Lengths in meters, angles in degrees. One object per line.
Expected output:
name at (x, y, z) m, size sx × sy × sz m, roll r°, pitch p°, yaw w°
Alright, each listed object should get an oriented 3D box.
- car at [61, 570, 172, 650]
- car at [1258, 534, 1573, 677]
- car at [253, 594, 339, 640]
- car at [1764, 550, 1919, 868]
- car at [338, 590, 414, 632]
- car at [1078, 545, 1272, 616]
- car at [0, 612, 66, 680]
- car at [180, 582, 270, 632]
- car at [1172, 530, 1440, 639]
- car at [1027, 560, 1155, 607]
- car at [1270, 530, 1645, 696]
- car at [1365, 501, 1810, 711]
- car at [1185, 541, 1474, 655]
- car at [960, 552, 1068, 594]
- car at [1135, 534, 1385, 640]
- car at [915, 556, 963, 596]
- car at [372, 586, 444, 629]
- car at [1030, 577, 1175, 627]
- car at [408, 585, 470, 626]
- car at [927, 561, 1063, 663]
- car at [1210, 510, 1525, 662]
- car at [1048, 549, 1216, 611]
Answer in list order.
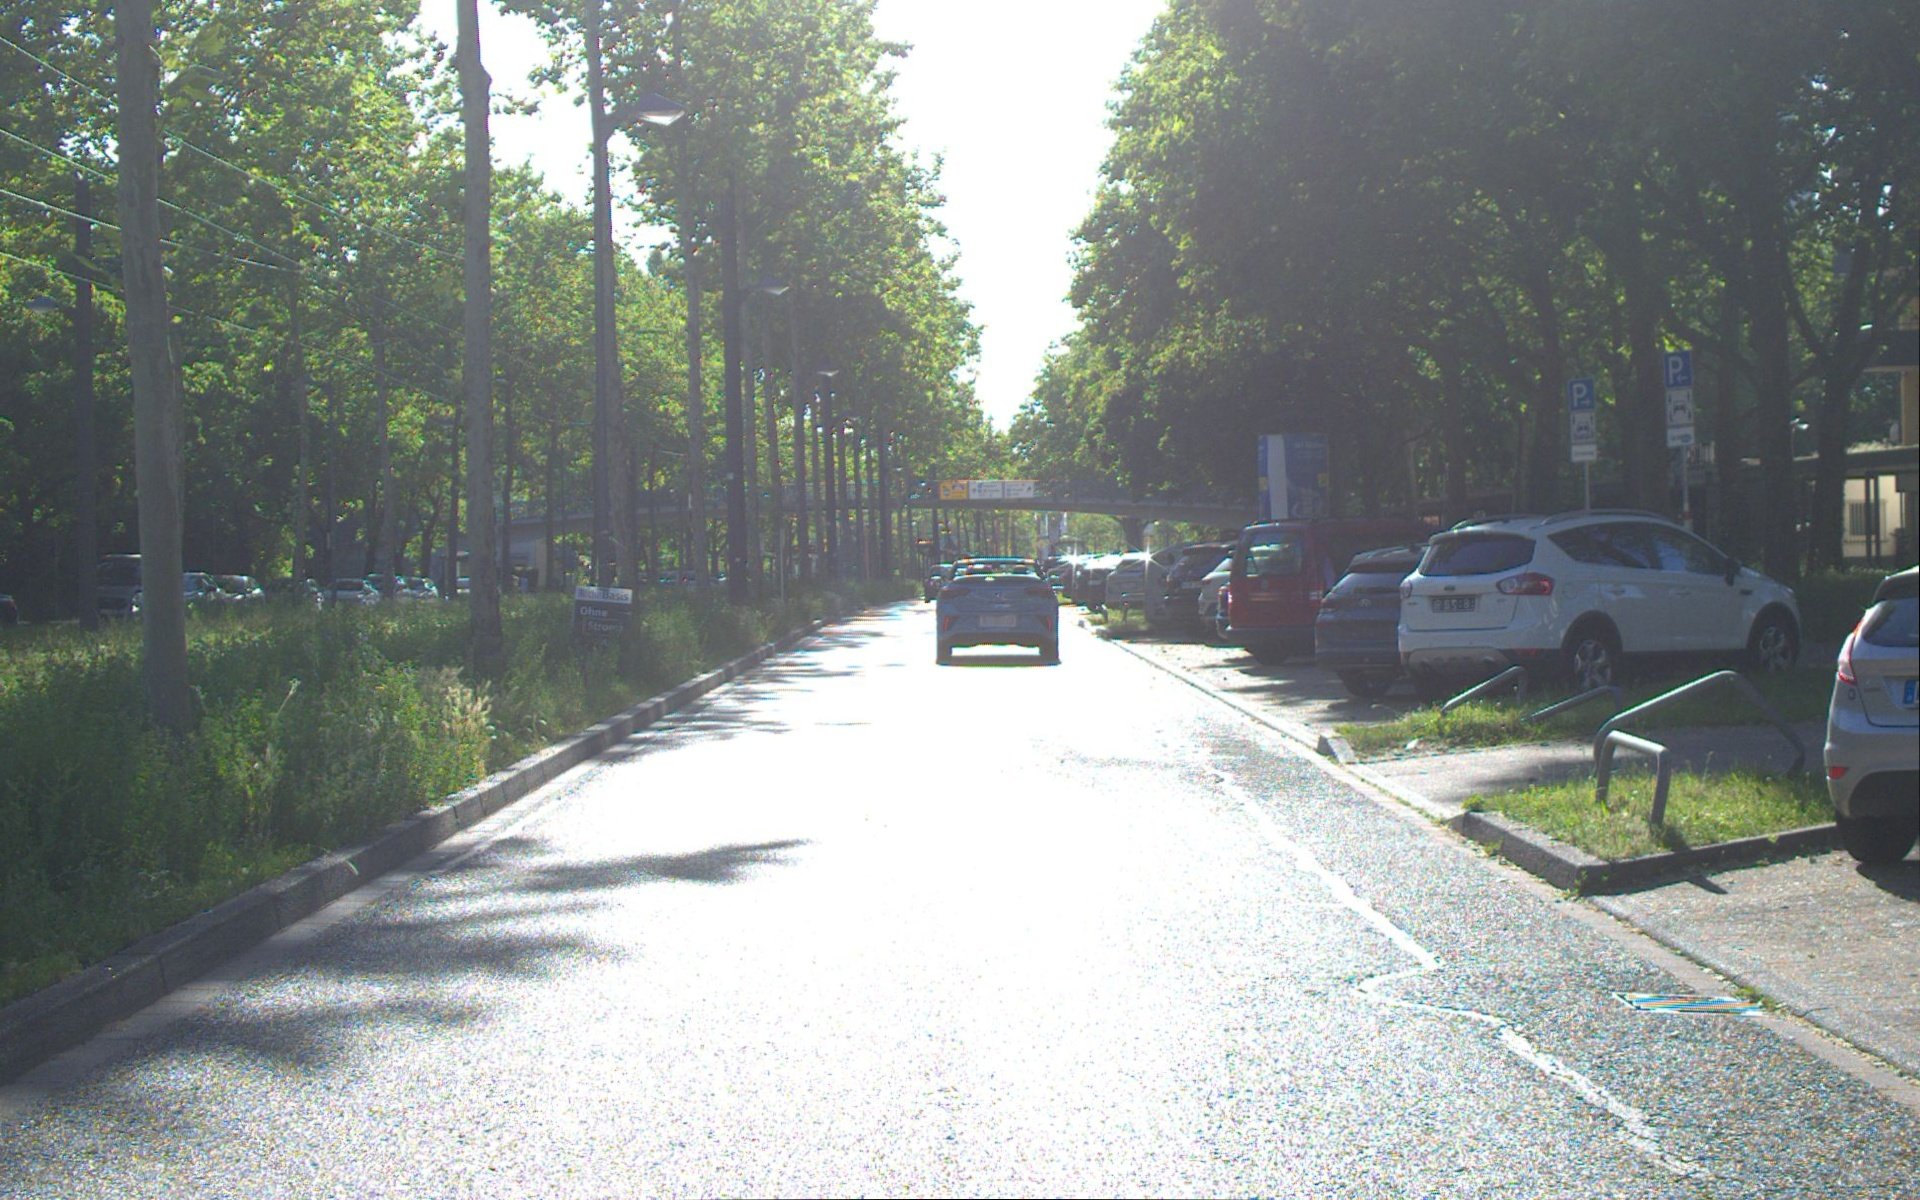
car at (-23.132, 0.258, 94.423) m, size 1.645 × 2.086 × 4.914 m, roll 2°, pitch 1°, yaw 2°
car at (5.166, 0.050, 38.721) m, size 1.650 × 1.443 × 3.618 m, roll -2°, pitch 1°, yaw 44°
car at (-22.485, 0.552, 116.571) m, size 1.993 × 1.448 × 4.000 m, roll 2°, pitch 1°, yaw 2°
car at (5.626, 0.409, 16.284) m, size 3.928 × 1.368 × 1.587 m, roll -3°, pitch 1°, yaw -43°
car at (-21.685, 0.400, 127.829) m, size 1.993 × 1.448 × 4.000 m, roll 2°, pitch 1°, yaw 2°
car at (4.977, -0.456, 79.302) m, size 4.482 × 1.438 × 1.855 m, roll -3°, pitch 1°, yaw -43°
car at (-23.636, 1.123, 81.288) m, size 4.474 × 1.563 × 1.794 m, roll -2°, pitch 1°, yaw -42°
car at (-22.644, 0.210, 105.959) m, size 1.872 × 1.448 × 3.574 m, roll 2°, pitch 1°, yaw 2°
car at (5.600, -0.257, 55.490) m, size 4.072 × 1.577 × 1.781 m, roll -3°, pitch 1°, yaw -34°
car at (4.733, -0.605, 123.913) m, size 4.611 × 1.674 × 1.856 m, roll 0°, pitch 0°, yaw -42°
car at (4.976, 0.112, 34.123) m, size 3.777 × 1.465 × 1.650 m, roll -3°, pitch 1°, yaw -43°
car at (5.693, 0.027, 30.973) m, size 4.017 × 1.699 × 1.760 m, roll -3°, pitch 1°, yaw -41°
car at (5.397, -0.037, 49.984) m, size 4.073 × 1.476 × 1.651 m, roll -3°, pitch 1°, yaw -36°
car at (2.316, -1.146, 147.753) m, size 4.611 × 1.762 × 1.856 m, roll 0°, pitch 0°, yaw -42°
car at (5.168, -0.248, 58.887) m, size 4.308 × 1.711 × 1.635 m, roll -2°, pitch 1°, yaw -39°
car at (-0.838, -0.983, 137.549) m, size 1.849 × 1.530 × 3.866 m, roll -1°, pitch 1°, yaw 0°
car at (-21.794, 0.292, 135.828) m, size 1.993 × 1.584 × 4.168 m, roll 2°, pitch 1°, yaw 2°
car at (4.498, 0.059, 108.197) m, size 1.978 × 1.454 × 4.612 m, roll -1°, pitch 1°, yaw 44°
car at (-21.481, 0.202, 141.904) m, size 1.787 × 1.584 × 4.168 m, roll 2°, pitch 1°, yaw 2°
car at (0.500, 0.147, 50.657) m, size 1.922 × 1.406 × 4.000 m, roll 0°, pitch 1°, yaw 0°
car at (5.327, -0.195, 44.710) m, size 4.073 × 1.804 × 1.650 m, roll -3°, pitch 1°, yaw -40°
car at (4.494, -0.522, 89.342) m, size 4.318 × 1.420 × 1.855 m, roll -3°, pitch 1°, yaw -43°
